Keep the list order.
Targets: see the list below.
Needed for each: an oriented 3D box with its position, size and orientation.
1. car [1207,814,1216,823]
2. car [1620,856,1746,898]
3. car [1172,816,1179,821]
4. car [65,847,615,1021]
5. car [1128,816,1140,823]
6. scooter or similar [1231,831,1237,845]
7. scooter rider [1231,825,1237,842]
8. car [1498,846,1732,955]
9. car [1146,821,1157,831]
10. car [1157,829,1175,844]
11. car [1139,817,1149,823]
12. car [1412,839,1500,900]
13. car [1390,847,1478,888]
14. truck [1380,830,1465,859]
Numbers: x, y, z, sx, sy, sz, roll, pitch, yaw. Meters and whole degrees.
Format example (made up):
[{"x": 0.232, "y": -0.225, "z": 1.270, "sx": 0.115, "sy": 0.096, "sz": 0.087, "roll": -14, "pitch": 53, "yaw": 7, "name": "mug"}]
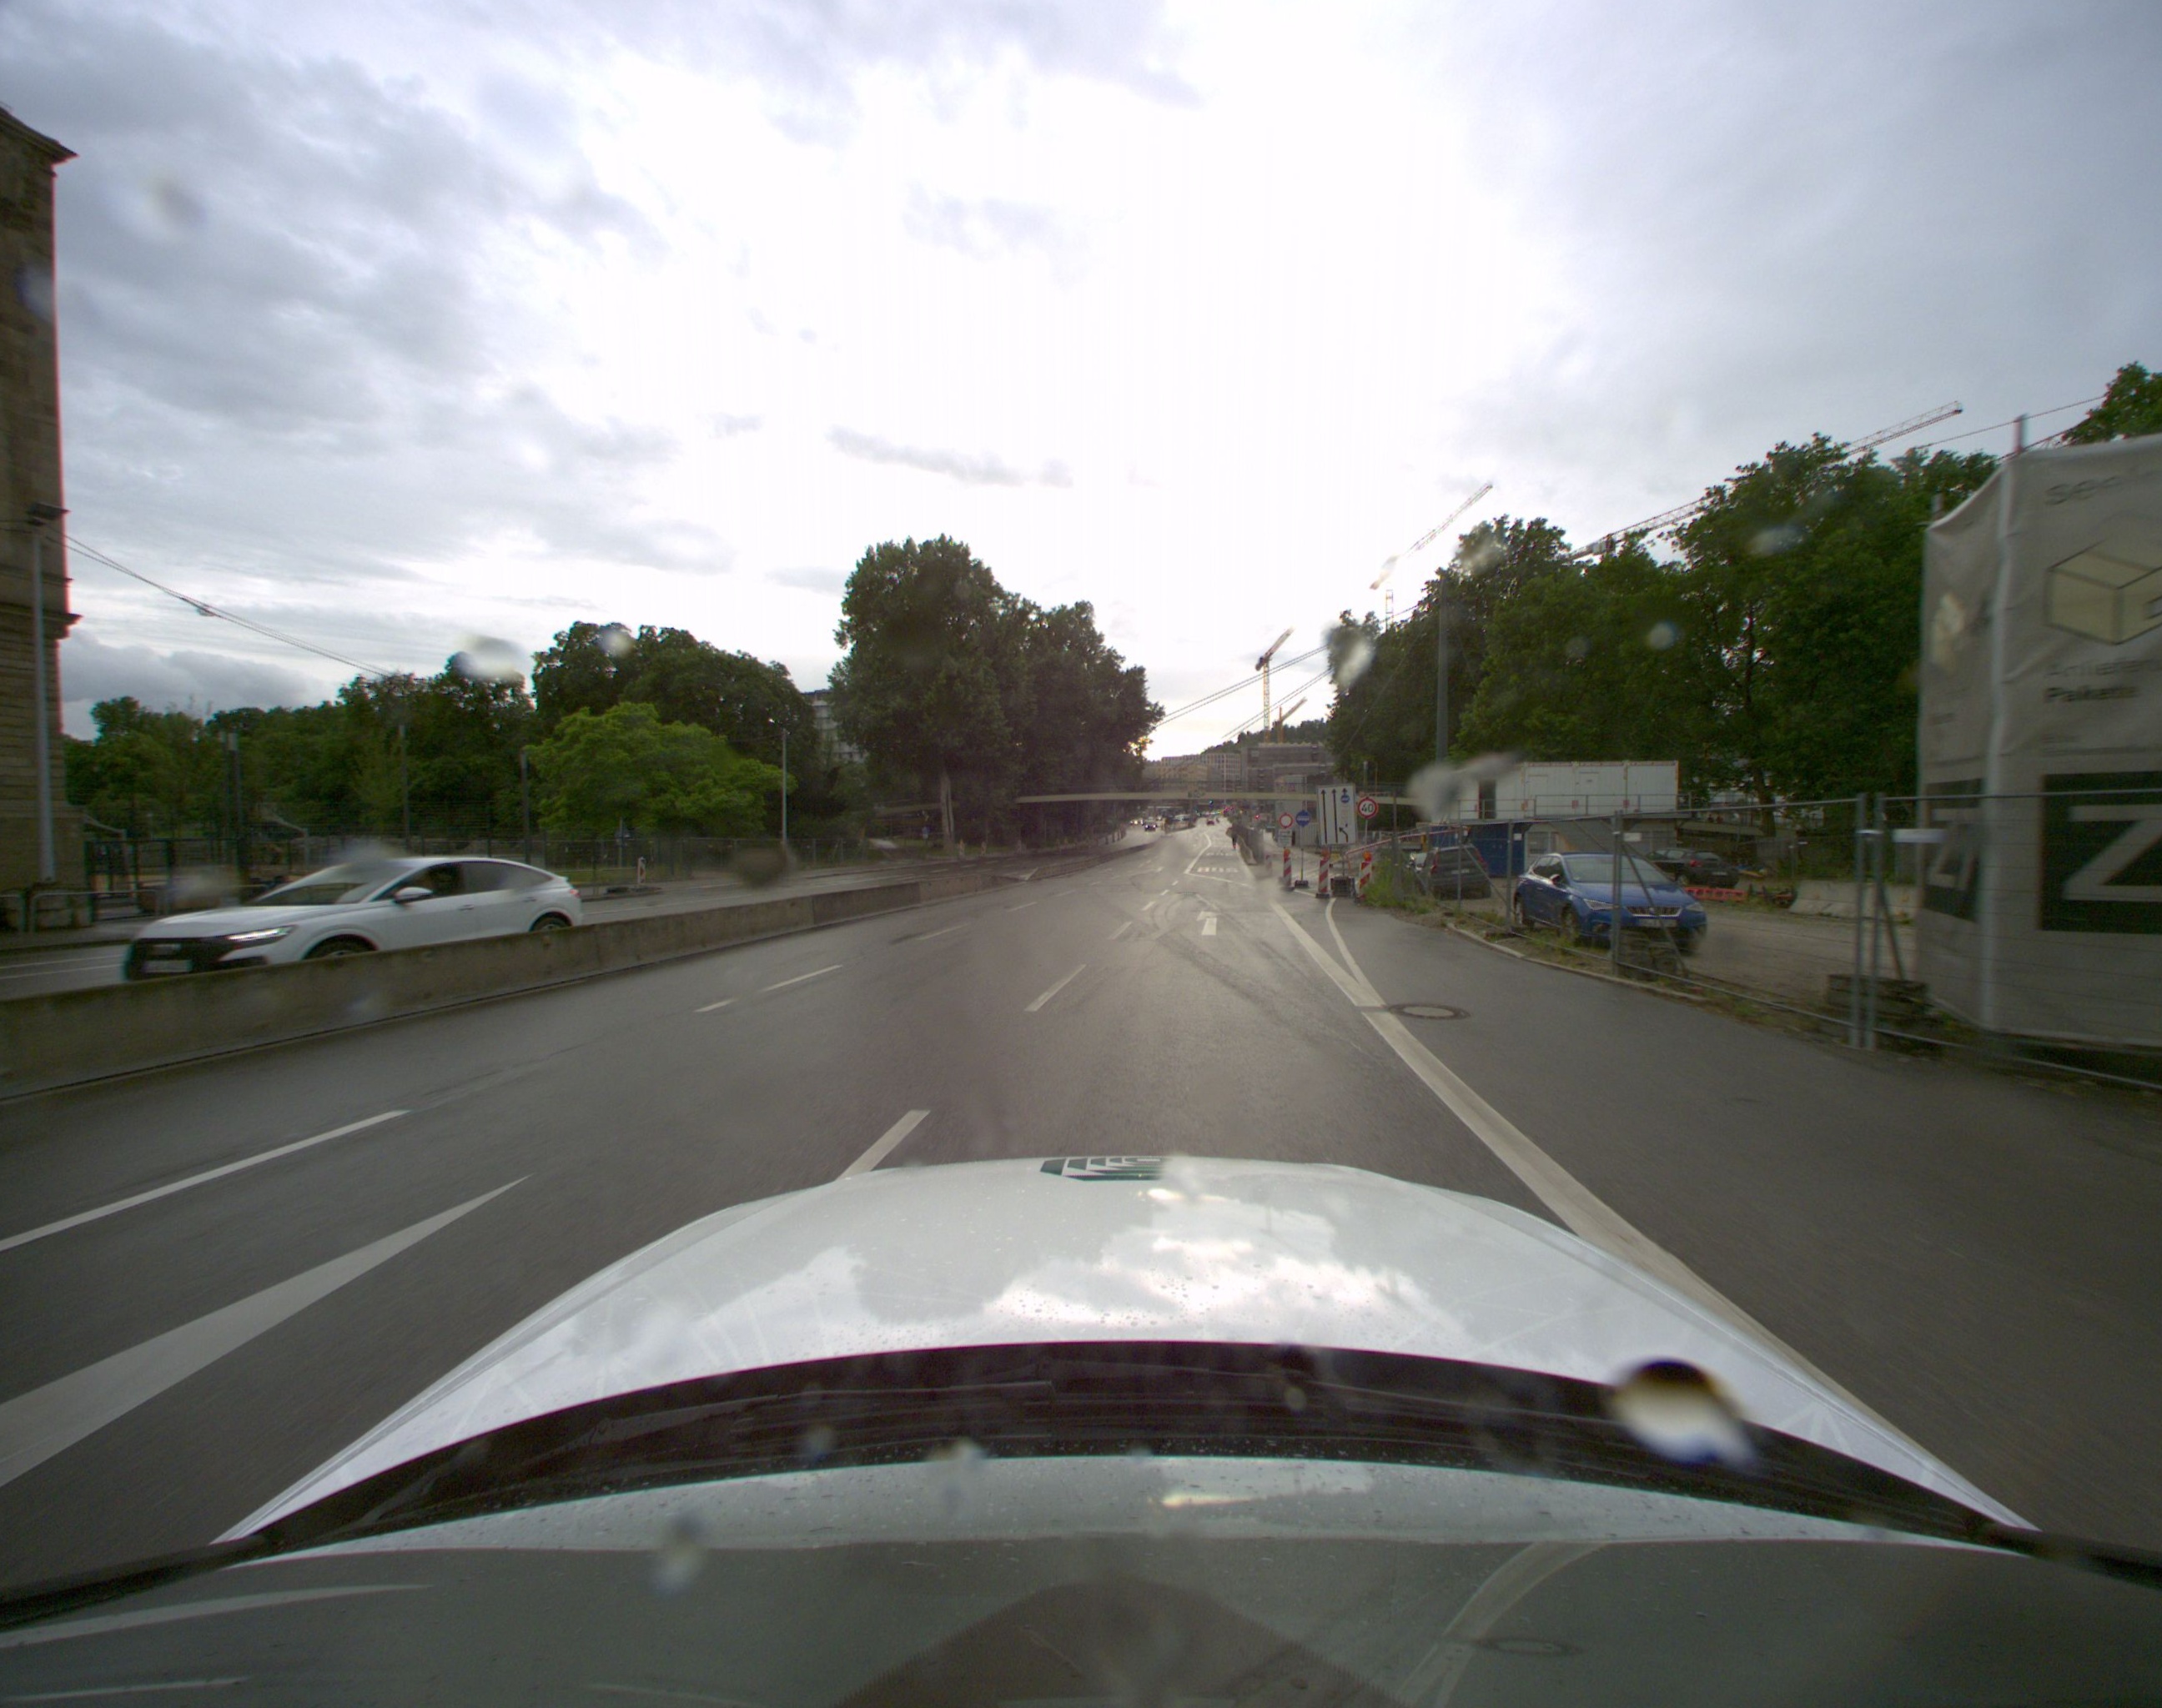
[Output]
[{"x": 31.710, "y": -8.581, "z": 198.356, "sx": 1.981, "sy": 2.013, "sz": 4.012, "roll": -2, "pitch": 0, "yaw": 10, "name": "car"}, {"x": 21.393, "y": 0.775, "z": 29.164, "sx": 1.704, "sy": 1.306, "sz": 4.003, "roll": 0, "pitch": 1, "yaw": 3, "name": "car"}, {"x": 28.724, "y": -10.771, "z": 246.968, "sx": 1.892, "sy": 1.528, "sz": 4.185, "roll": -2, "pitch": 1, "yaw": 7, "name": "car"}, {"x": -8.427, "y": 0.744, "z": 10.119, "sx": 1.883, "sy": 1.567, "sz": 4.910, "roll": -2, "pitch": 1, "yaw": 8, "name": "car"}, {"x": 13.986, "y": -9.109, "z": 214.036, "sx": 2.031, "sy": 1.652, "sz": 4.304, "roll": -2, "pitch": 3, "yaw": -11, "name": "car"}, {"x": 15.795, "y": -1.660, "z": 83.904, "sx": 0.593, "sy": 1.318, "sz": 1.673, "roll": 0, "pitch": 3, "yaw": 11, "name": "scooter or similar"}, {"x": 15.778, "y": -2.101, "z": 83.887, "sx": 0.593, "sy": 1.785, "sz": 1.001, "roll": 0, "pitch": 3, "yaw": 11, "name": "scooter rider"}, {"x": 8.571, "y": 0.622, "z": 13.582, "sx": 1.820, "sy": 1.441, "sz": 4.429, "roll": 1, "pitch": 1, "yaw": 13, "name": "car"}, {"x": 14.060, "y": -5.595, "z": 163.144, "sx": 2.022, "sy": 1.936, "sz": 5.050, "roll": -4, "pitch": 1, "yaw": 4, "name": "car"}, {"x": 9.569, "y": -1.939, "z": 91.323, "sx": 1.892, "sy": 1.528, "sz": 4.185, "roll": -2, "pitch": 1, "yaw": 7, "name": "car"}, {"x": 16.466, "y": -8.901, "z": 214.131, "sx": 1.710, "sy": 1.338, "sz": 4.053, "roll": -10, "pitch": 1, "yaw": -6, "name": "car"}, {"x": 12.089, "y": 0.439, "z": 26.549, "sx": 1.906, "sy": 1.649, "sz": 4.433, "roll": -6, "pitch": 0, "yaw": 17, "name": "car"}, {"x": 13.947, "y": 0.567, "z": 32.412, "sx": 1.843, "sy": 1.485, "sz": 4.002, "roll": -2, "pitch": -2, "yaw": 3, "name": "car"}, {"x": 24.568, "y": -0.667, "z": 58.739, "sx": 5.132, "sy": 2.013, "sz": 2.411, "roll": -1, "pitch": 0, "yaw": 2, "name": "truck"}]
